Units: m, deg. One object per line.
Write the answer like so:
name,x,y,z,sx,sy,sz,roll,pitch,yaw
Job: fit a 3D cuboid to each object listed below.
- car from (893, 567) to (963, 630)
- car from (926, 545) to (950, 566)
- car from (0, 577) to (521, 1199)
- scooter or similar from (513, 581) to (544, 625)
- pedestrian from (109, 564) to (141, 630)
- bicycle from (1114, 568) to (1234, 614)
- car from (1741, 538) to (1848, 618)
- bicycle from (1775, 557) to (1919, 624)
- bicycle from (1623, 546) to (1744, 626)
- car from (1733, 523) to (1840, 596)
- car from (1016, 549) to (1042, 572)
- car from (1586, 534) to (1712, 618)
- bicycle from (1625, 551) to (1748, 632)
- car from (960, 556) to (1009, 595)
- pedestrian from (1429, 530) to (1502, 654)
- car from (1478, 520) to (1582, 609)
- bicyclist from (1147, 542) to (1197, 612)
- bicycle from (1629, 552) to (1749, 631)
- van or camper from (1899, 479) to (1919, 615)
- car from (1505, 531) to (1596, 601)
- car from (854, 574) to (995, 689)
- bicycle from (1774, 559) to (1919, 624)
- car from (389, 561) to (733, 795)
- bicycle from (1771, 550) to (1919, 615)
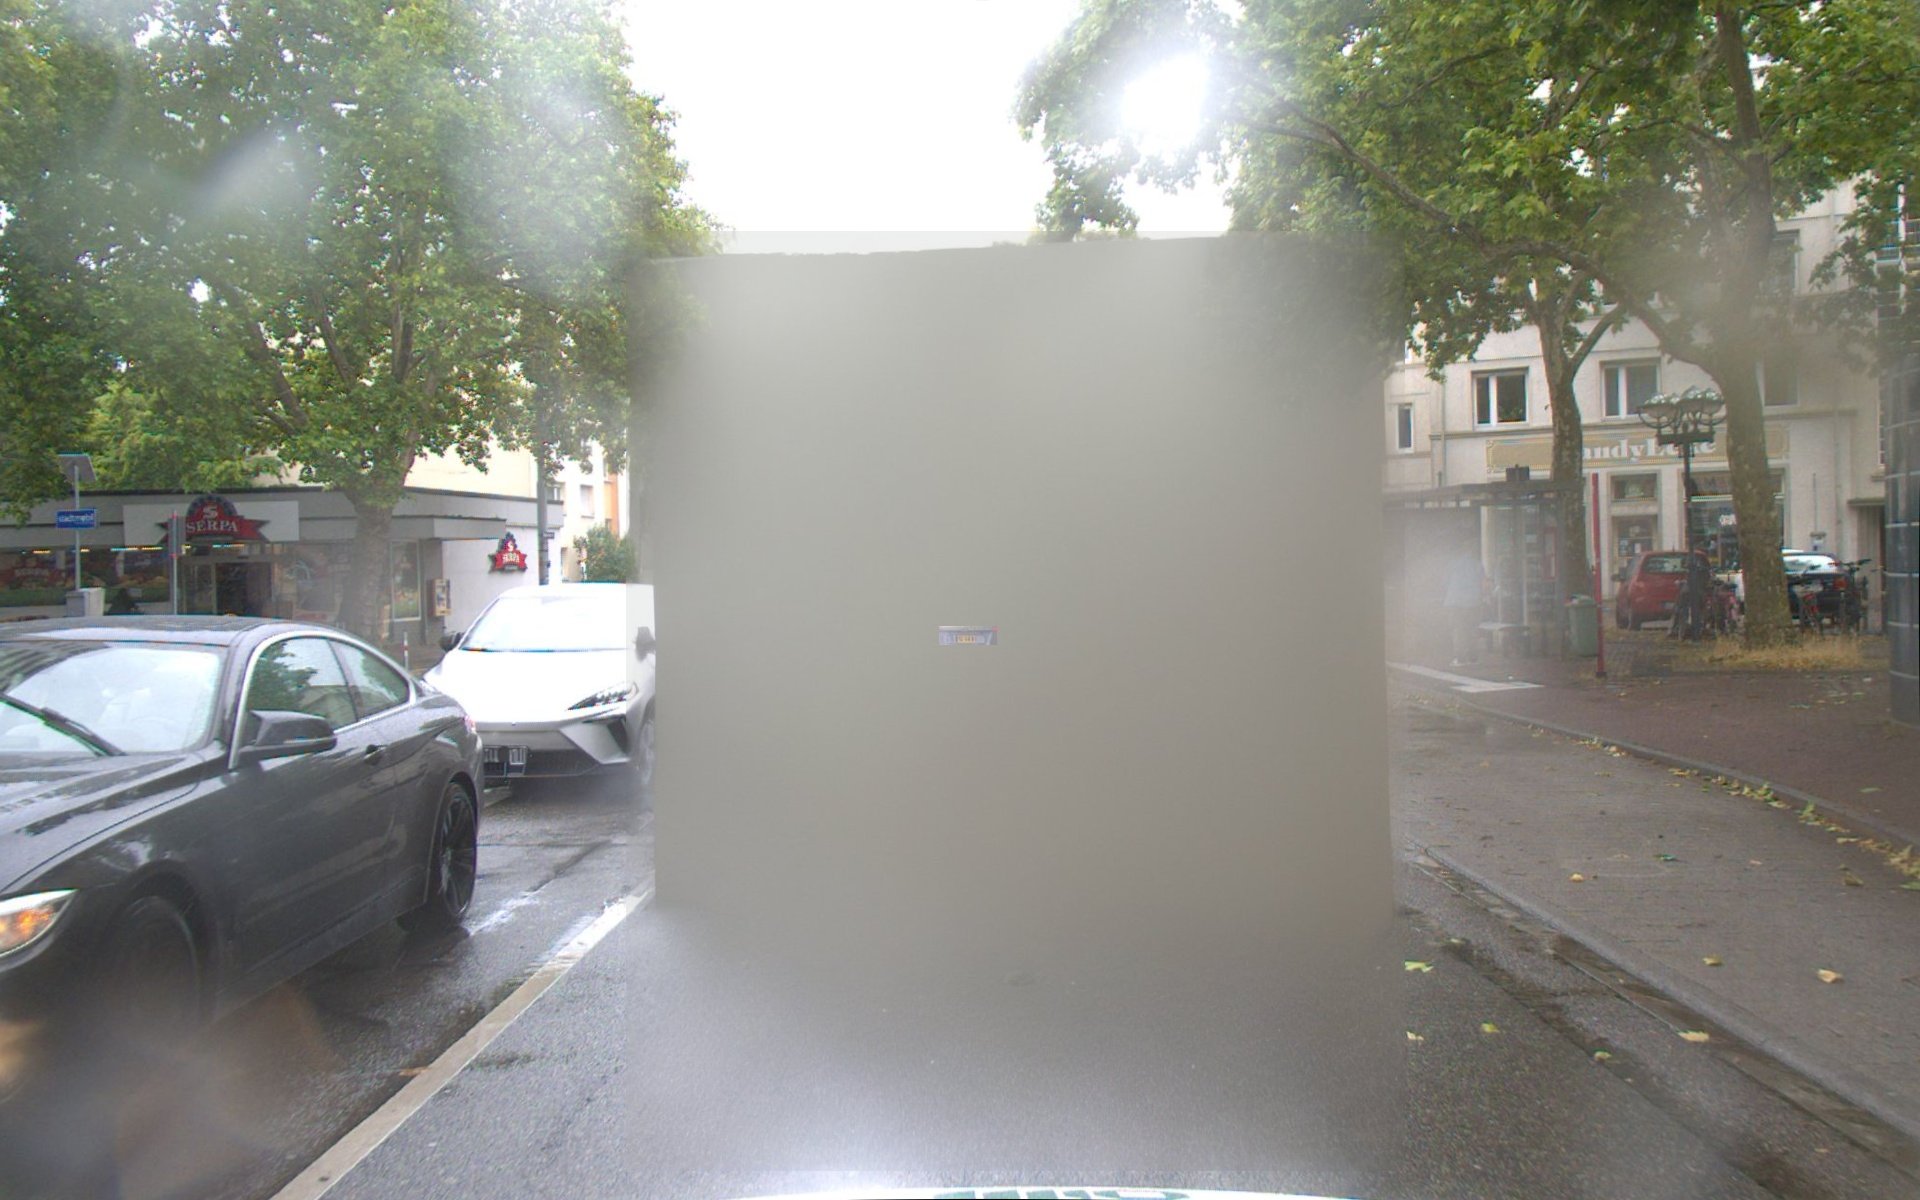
car,-0.758,-0.071,40.932,1.574,1.396,4.000,-3,1,0
car,-1.953,-3.968,148.086,1.850,1.868,4.002,-2,1,4
car,-3.013,0.645,5.881,1.706,1.414,4.363,-1,0,0
scooter or similar,-13.261,0.082,50.864,0.428,1.288,1.376,-2,1,7
pedestrian,-21.577,-0.085,42.735,0.560,1.657,0.639,-2,1,-15
bicycle,5.972,-0.257,46.140,3.157,1.131,1.049,-2,1,-19
car,15.360,-0.368,30.556,1.550,1.360,3.260,-2,-1,24
bicycle,14.067,-0.149,25.953,2.235,1.000,0.545,-1,1,23
bicycle,12.175,-0.233,27.878,1.797,1.280,0.711,-1,1,21
car,20.256,-1.015,40.692,1.953,1.656,4.630,2,2,22
car,5.870,-3.312,140.556,2.004,1.868,4.795,-2,1,4
car,13.143,-0.407,31.716,1.492,1.482,3.392,-2,-1,10
bicycle,11.933,-0.142,27.210,1.797,1.280,0.525,-1,1,21
car,1.050,-1.069,72.376,1.953,1.601,3.999,-2,1,-1
pedestrian,7.096,-0.112,23.214,0.659,1.698,0.708,-2,1,-41
car,11.118,-0.646,32.423,1.652,1.578,3.525,-2,-1,15
bicyclist,5.892,-0.634,46.059,0.924,1.900,1.137,-2,1,-18
bicycle,11.739,-0.140,26.681,1.725,1.216,0.499,-1,1,21
van or camper,18.301,-0.994,29.569,2.350,2.270,5.424,-1,1,27
car,15.179,-0.899,42.384,1.953,1.656,4.630,2,2,22
car,-0.448,0.374,22.547,1.754,1.396,3.507,0,1,0
bicycle,14.305,-0.133,26.510,2.206,0.985,0.534,-1,1,23
car,-2.997,0.489,13.318,1.808,1.536,4.055,-2,1,-1
bicycle,14.556,-0.281,27.116,2.201,0.985,0.585,-1,1,23
